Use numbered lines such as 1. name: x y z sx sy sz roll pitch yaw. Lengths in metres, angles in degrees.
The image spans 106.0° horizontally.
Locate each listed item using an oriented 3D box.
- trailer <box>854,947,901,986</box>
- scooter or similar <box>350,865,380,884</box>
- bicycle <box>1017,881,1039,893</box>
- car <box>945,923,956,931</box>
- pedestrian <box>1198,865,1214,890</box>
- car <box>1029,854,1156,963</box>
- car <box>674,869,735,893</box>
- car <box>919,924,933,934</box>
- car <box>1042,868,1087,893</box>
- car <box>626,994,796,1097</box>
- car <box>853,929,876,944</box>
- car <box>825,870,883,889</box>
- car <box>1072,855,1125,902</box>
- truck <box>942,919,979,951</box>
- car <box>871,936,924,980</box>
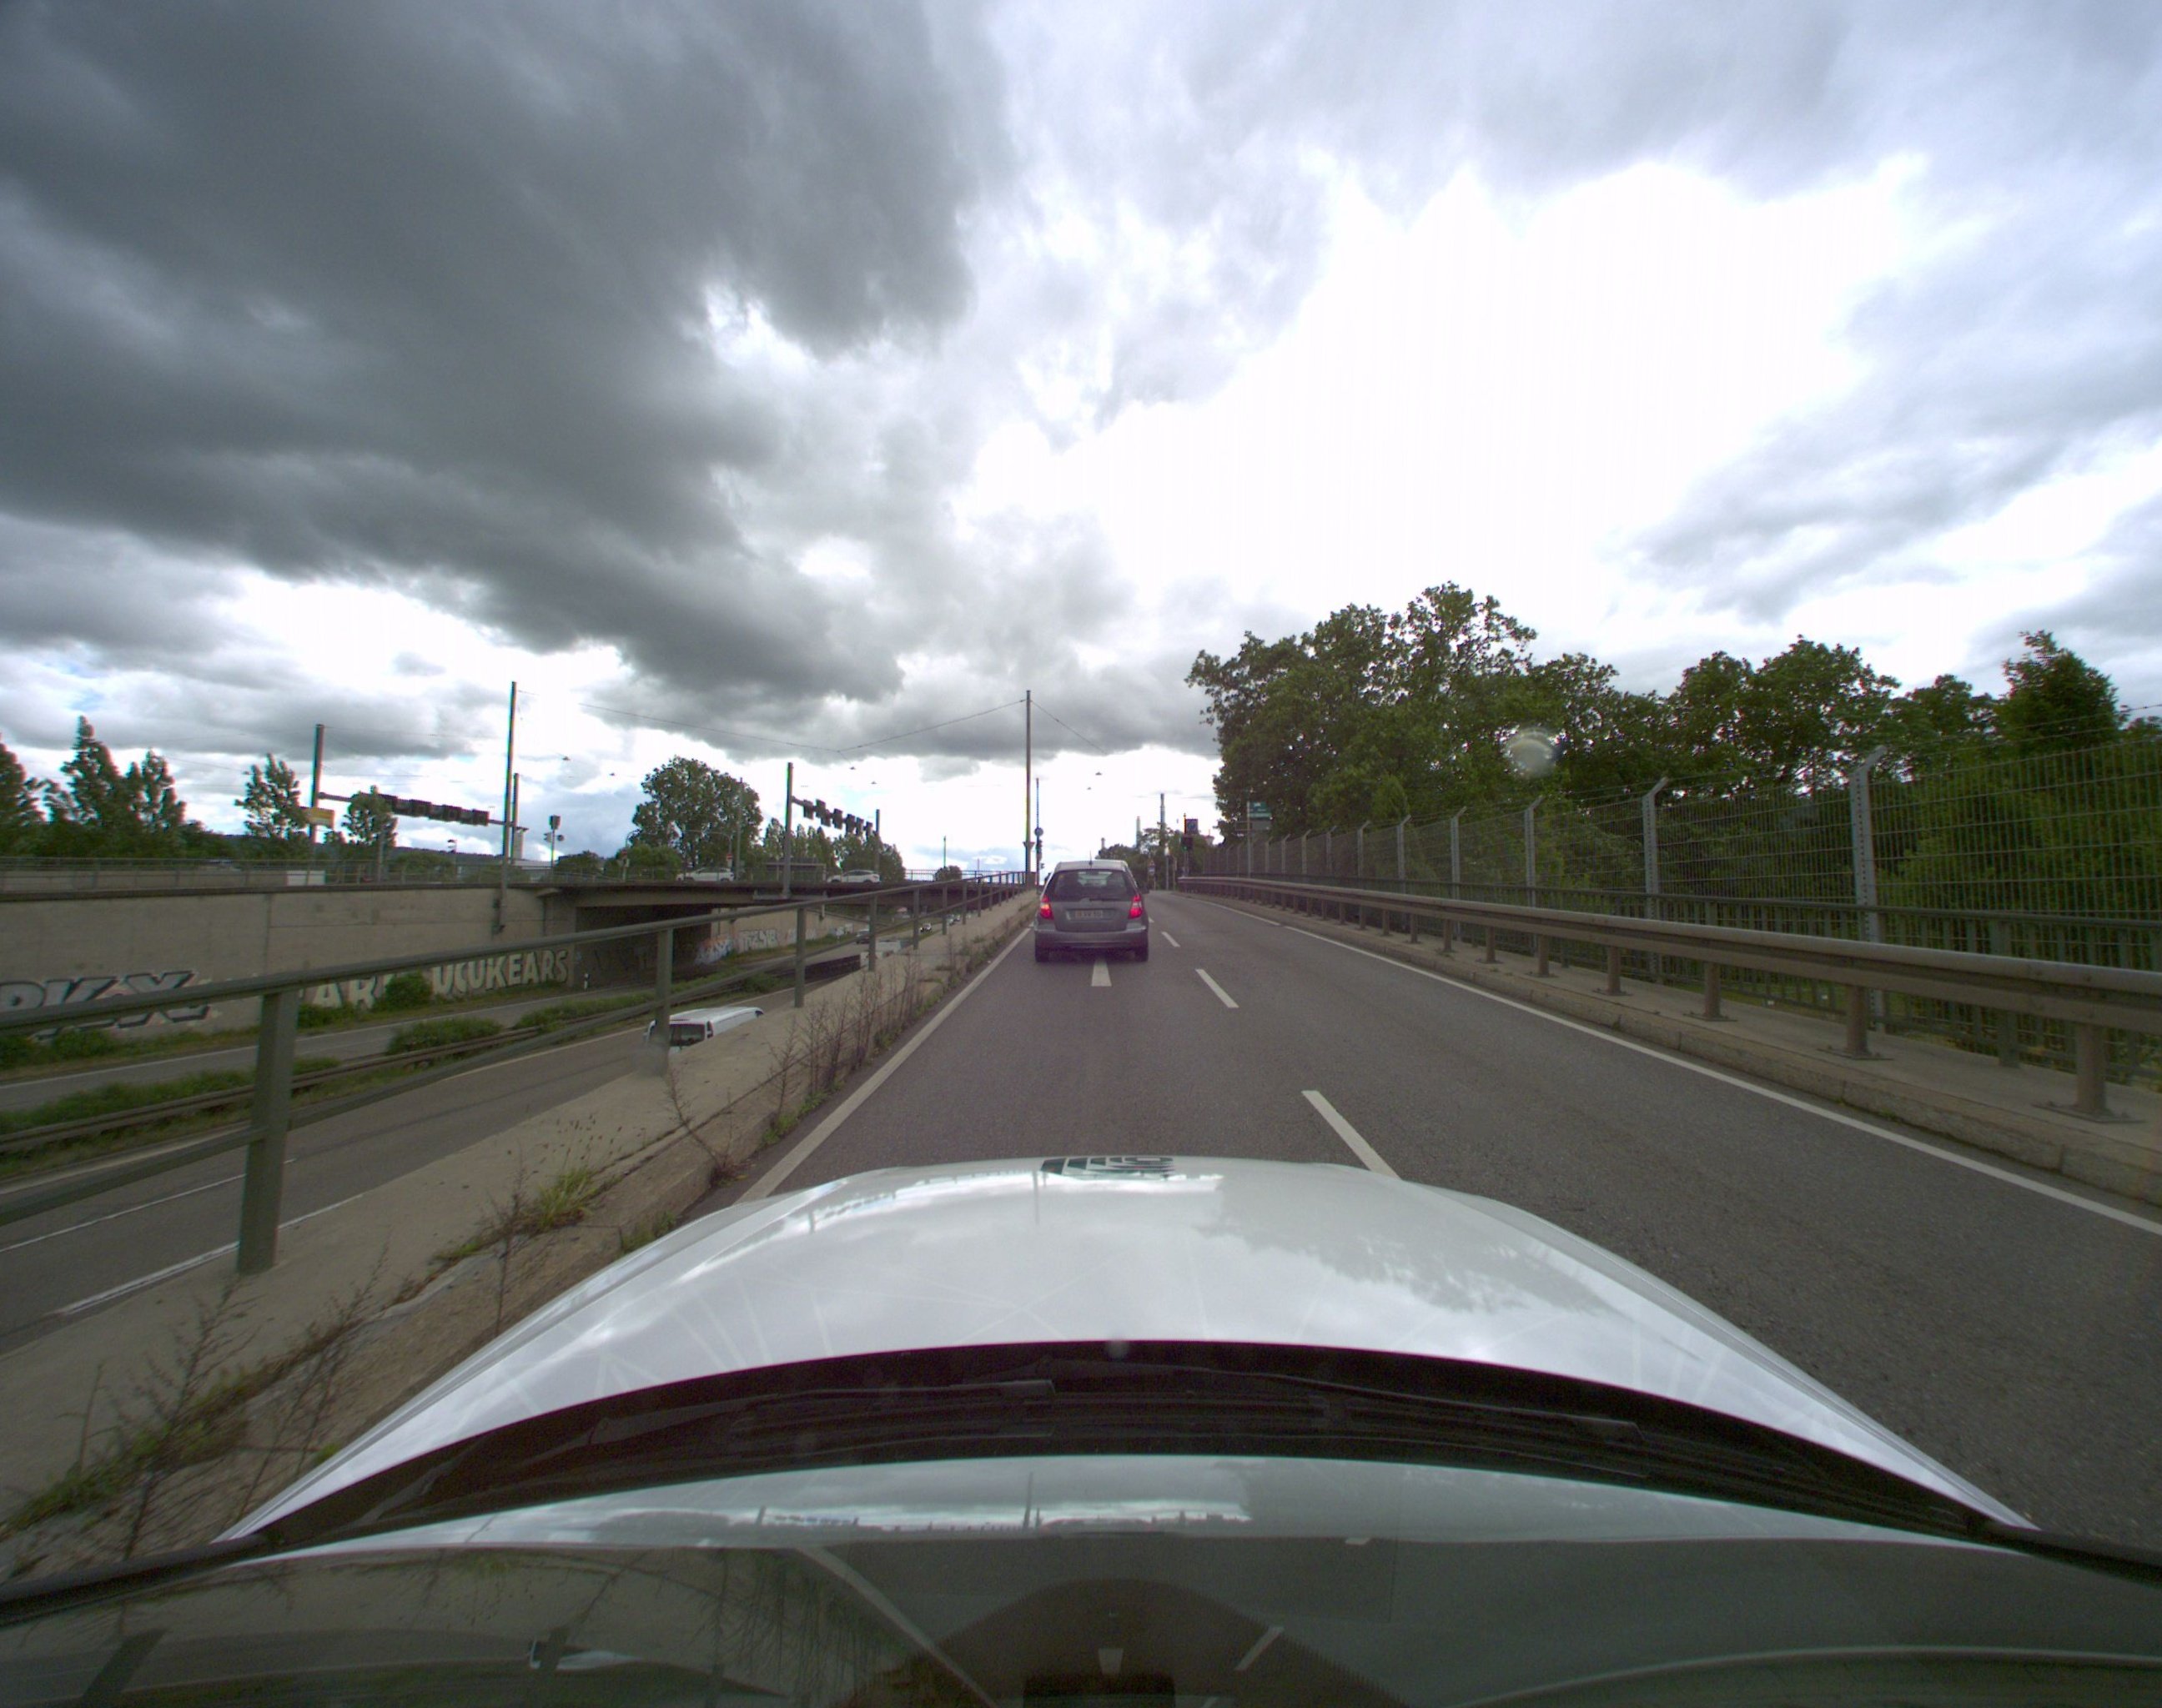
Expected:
1. trailer: -12.473 6.888 50.139 1.722 2.130 3.936 0 -5 2
2. scooter or similar: -41.993 1.203 47.756 0.542 1.094 1.414 -1 -3 -4
3. bicycle: -4.965 3.087 76.291 2.033 1.125 0.925 0 -1 -12
4. car: -27.224 15.171 169.986 1.723 1.528 4.084 0 -4 0
5. pedestrian: 8.543 1.596 55.665 0.831 1.678 0.978 -1 -4 -3
6. car: 0.238 0.822 13.958 1.850 1.588 4.002 0 -1 2
7. car: -30.077 2.149 65.035 4.226 1.870 1.980 0 -1 -31
8. car: -30.833 14.926 161.913 1.910 1.739 4.549 -1 -4 -1
9. car: -1.247 1.901 59.625 1.940 1.717 3.967 0 -1 -25
10. car: -9.600 4.947 21.751 1.986 1.877 5.199 -1 -5 2
11. car: -30.991 11.828 116.853 1.988 2.067 5.172 0 -4 -2
12. car: -18.961 2.122 68.101 4.323 1.576 1.836 0 -1 -4
13. car: 0.640 0.944 32.097 1.925 1.717 4.404 0 -1 -1
14. truck: -13.205 8.836 89.621 2.736 3.294 7.442 0 -4 2
15. car: -12.294 6.958 55.110 1.986 2.685 5.933 0 -5 2
